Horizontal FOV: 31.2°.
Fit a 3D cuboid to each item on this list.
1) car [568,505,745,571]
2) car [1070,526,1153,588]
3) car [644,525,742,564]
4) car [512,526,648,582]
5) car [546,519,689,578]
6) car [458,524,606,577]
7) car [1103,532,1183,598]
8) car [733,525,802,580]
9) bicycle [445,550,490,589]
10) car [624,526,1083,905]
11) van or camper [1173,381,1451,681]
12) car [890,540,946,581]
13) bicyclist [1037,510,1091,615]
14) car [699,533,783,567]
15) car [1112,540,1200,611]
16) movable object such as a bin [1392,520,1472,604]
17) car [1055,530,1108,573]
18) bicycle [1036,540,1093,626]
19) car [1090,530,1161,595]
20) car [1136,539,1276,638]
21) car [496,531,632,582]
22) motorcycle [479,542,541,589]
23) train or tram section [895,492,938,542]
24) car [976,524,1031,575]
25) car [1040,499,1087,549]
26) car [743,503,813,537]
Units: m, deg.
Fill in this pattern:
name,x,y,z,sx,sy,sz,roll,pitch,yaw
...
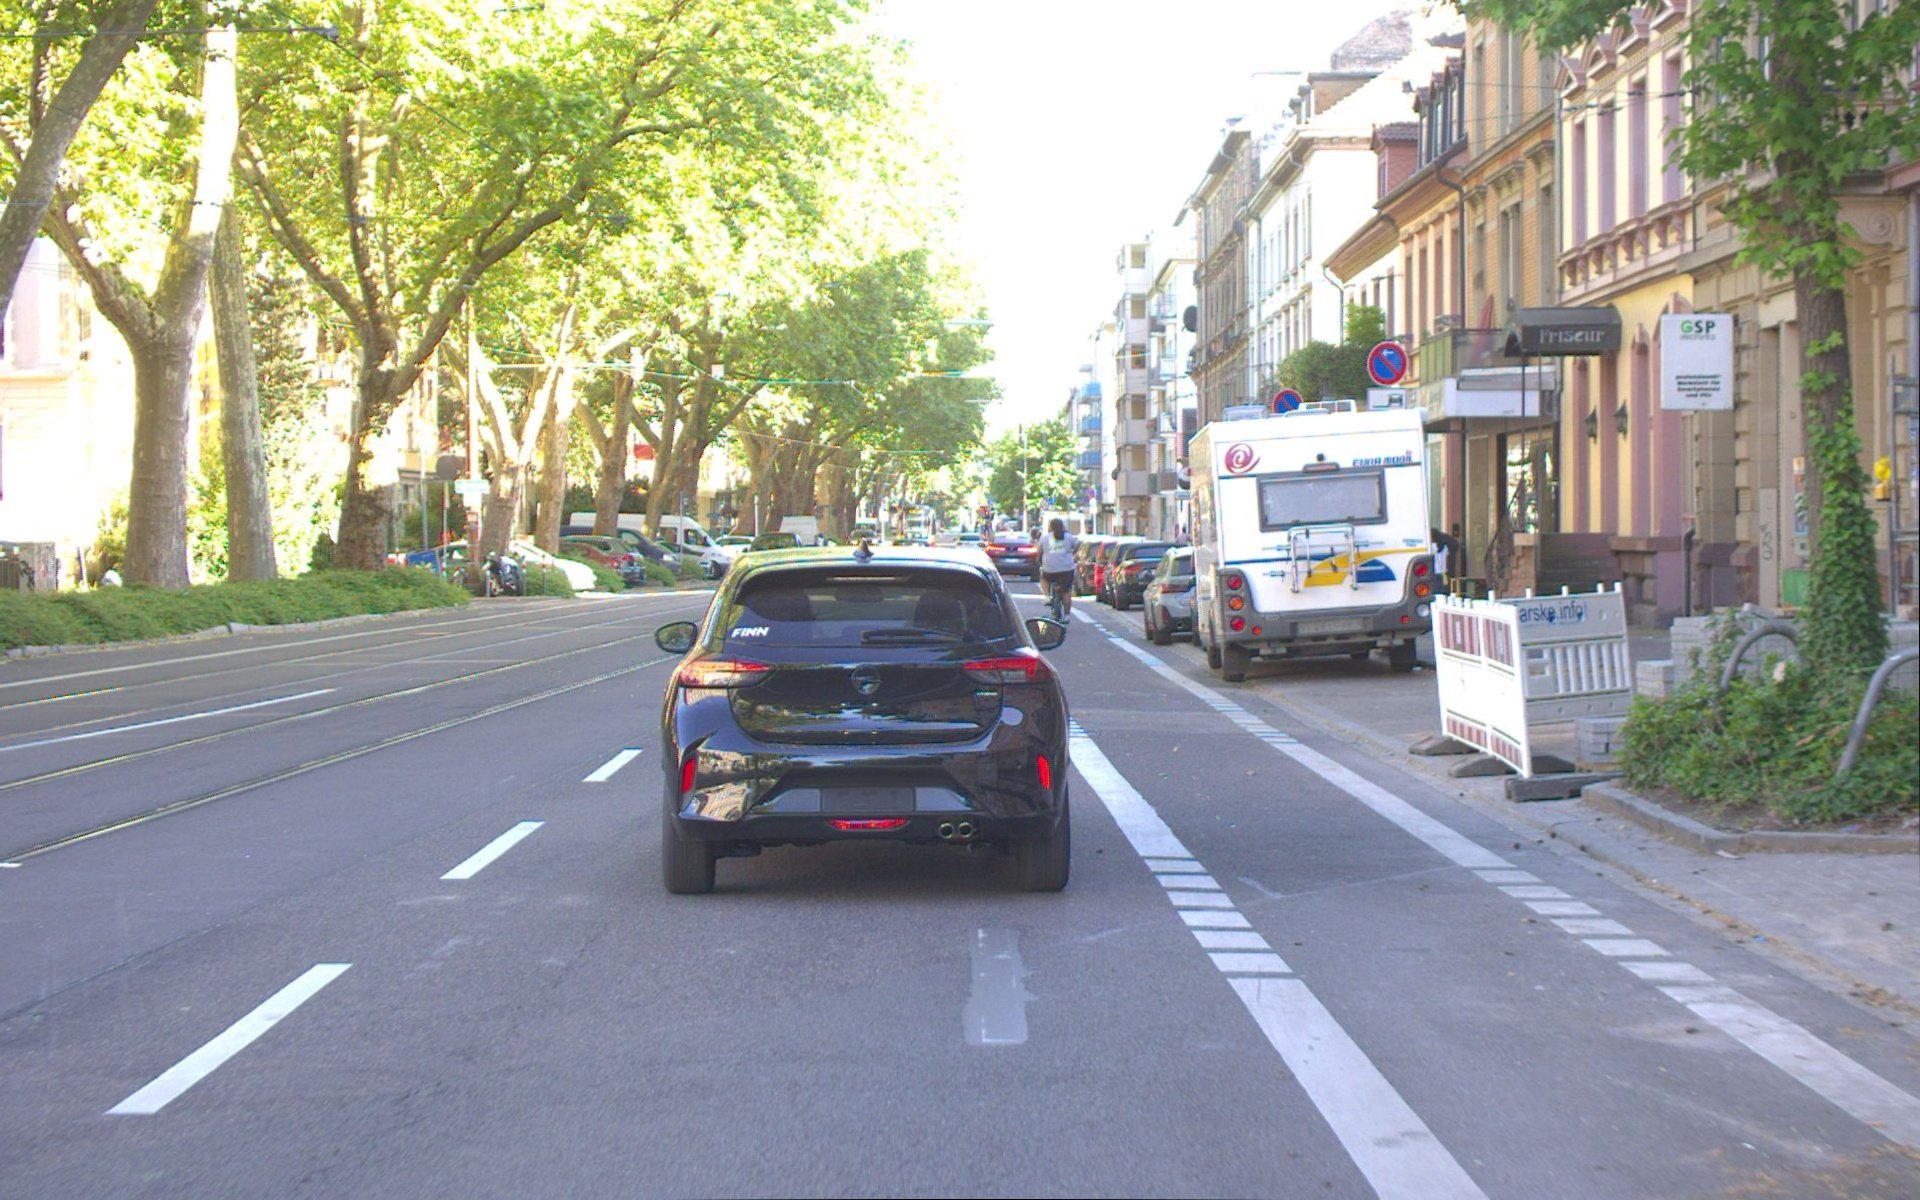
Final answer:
name,x,y,z,sx,sy,sz,roll,pitch,yaw
car,-11.841,-2.421,134.586,6.628,2.401,2.458,2,1,1
car,4.192,-1.203,95.396,1.880,1.580,3.933,-3,1,-2
car,-10.949,-2.276,141.206,3.919,1.493,1.677,2,1,-2
car,-11.891,-1.441,107.665,3.995,1.621,1.879,2,1,1
car,-11.886,-1.784,119.556,4.675,1.917,1.980,2,1,2
car,-12.047,-1.395,96.866,3.920,1.457,1.806,0,1,1
car,4.210,-0.823,79.527,1.651,1.451,3.868,-1,1,1
car,-6.002,-1.500,107.506,1.866,1.624,4.560,0,2,0
bicycle,-12.268,-0.772,85.661,0.541,0.937,2.033,1,1,8
car,-0.408,0.416,15.272,1.794,1.436,3.531,0,2,0
van or camper,3.880,-0.779,39.464,2.477,2.962,7.884,-3,1,2
car,-1.401,-1.349,115.393,1.810,1.333,3.933,0,1,0
bicyclist,1.738,-0.635,57.681,0.848,1.734,1.162,0,1,0
car,-10.534,-2.400,165.572,3.919,1.493,1.677,2,1,-2
car,4.086,-0.537,72.161,1.694,1.388,4.494,-1,1,2
movable object such as a bin,8.711,-0.703,63.493,1.293,1.515,1.286,0,1,1
car,4.414,-1.760,124.505,1.705,1.451,3.697,-3,1,4
bicycle,1.741,-0.299,57.636,0.860,1.402,2.524,0,1,0
car,4.026,-0.930,83.965,1.634,1.541,3.576,-1,1,2
car,3.755,-0.214,53.121,1.809,1.430,4.665,-1,1,0
car,-12.135,-1.339,105.451,3.920,1.437,1.749,2,1,1
motorcycle,-11.183,-0.865,85.528,0.884,1.143,2.390,1,1,8
train or tram section,-3.279,-6.321,263.184,2.735,3.669,12.716,-1,1,2
car,1.506,-1.754,118.366,1.810,1.736,3.933,0,1,2
car,4.890,-3.570,162.076,2.075,2.211,4.933,-3,1,2
car,-10.346,-4.558,195.950,3.919,1.784,1.677,2,1,-2
